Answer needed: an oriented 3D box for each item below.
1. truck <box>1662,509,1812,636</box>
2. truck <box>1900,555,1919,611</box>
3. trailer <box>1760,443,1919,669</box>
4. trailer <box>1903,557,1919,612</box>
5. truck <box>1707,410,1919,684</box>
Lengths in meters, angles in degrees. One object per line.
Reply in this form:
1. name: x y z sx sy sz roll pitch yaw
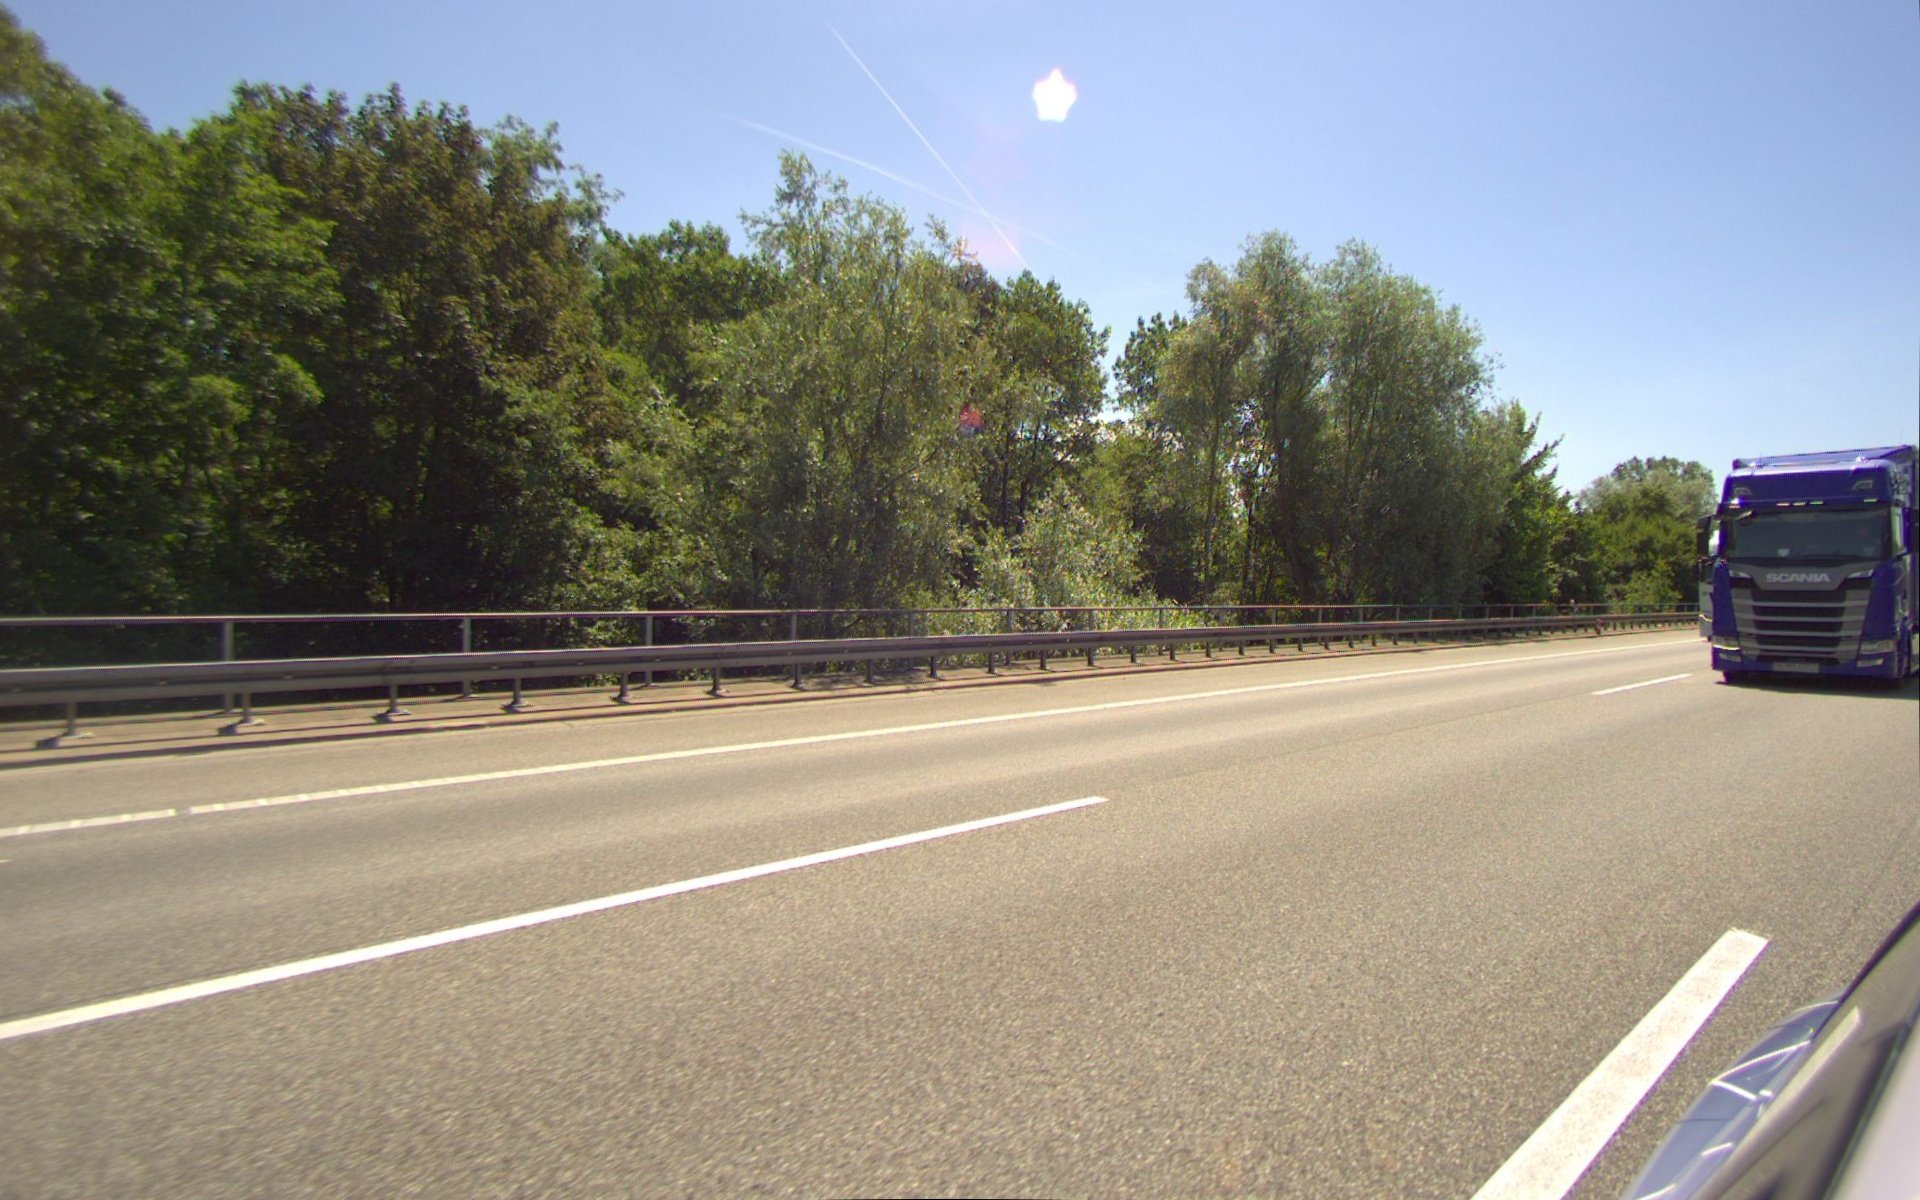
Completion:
1. truck: 29.491 -0.938 38.168 10.271 4.216 2.816 0 0 -43
2. truck: 73.411 -1.262 76.594 7.639 4.170 2.798 0 0 -43
3. trailer: 21.399 -0.848 23.424 11.926 4.170 2.703 0 0 -43
4. trailer: 77.431 -1.216 80.433 12.093 4.170 2.798 0 0 -43
5. truck: 16.295 -0.825 18.699 6.870 4.170 2.704 0 0 -42
